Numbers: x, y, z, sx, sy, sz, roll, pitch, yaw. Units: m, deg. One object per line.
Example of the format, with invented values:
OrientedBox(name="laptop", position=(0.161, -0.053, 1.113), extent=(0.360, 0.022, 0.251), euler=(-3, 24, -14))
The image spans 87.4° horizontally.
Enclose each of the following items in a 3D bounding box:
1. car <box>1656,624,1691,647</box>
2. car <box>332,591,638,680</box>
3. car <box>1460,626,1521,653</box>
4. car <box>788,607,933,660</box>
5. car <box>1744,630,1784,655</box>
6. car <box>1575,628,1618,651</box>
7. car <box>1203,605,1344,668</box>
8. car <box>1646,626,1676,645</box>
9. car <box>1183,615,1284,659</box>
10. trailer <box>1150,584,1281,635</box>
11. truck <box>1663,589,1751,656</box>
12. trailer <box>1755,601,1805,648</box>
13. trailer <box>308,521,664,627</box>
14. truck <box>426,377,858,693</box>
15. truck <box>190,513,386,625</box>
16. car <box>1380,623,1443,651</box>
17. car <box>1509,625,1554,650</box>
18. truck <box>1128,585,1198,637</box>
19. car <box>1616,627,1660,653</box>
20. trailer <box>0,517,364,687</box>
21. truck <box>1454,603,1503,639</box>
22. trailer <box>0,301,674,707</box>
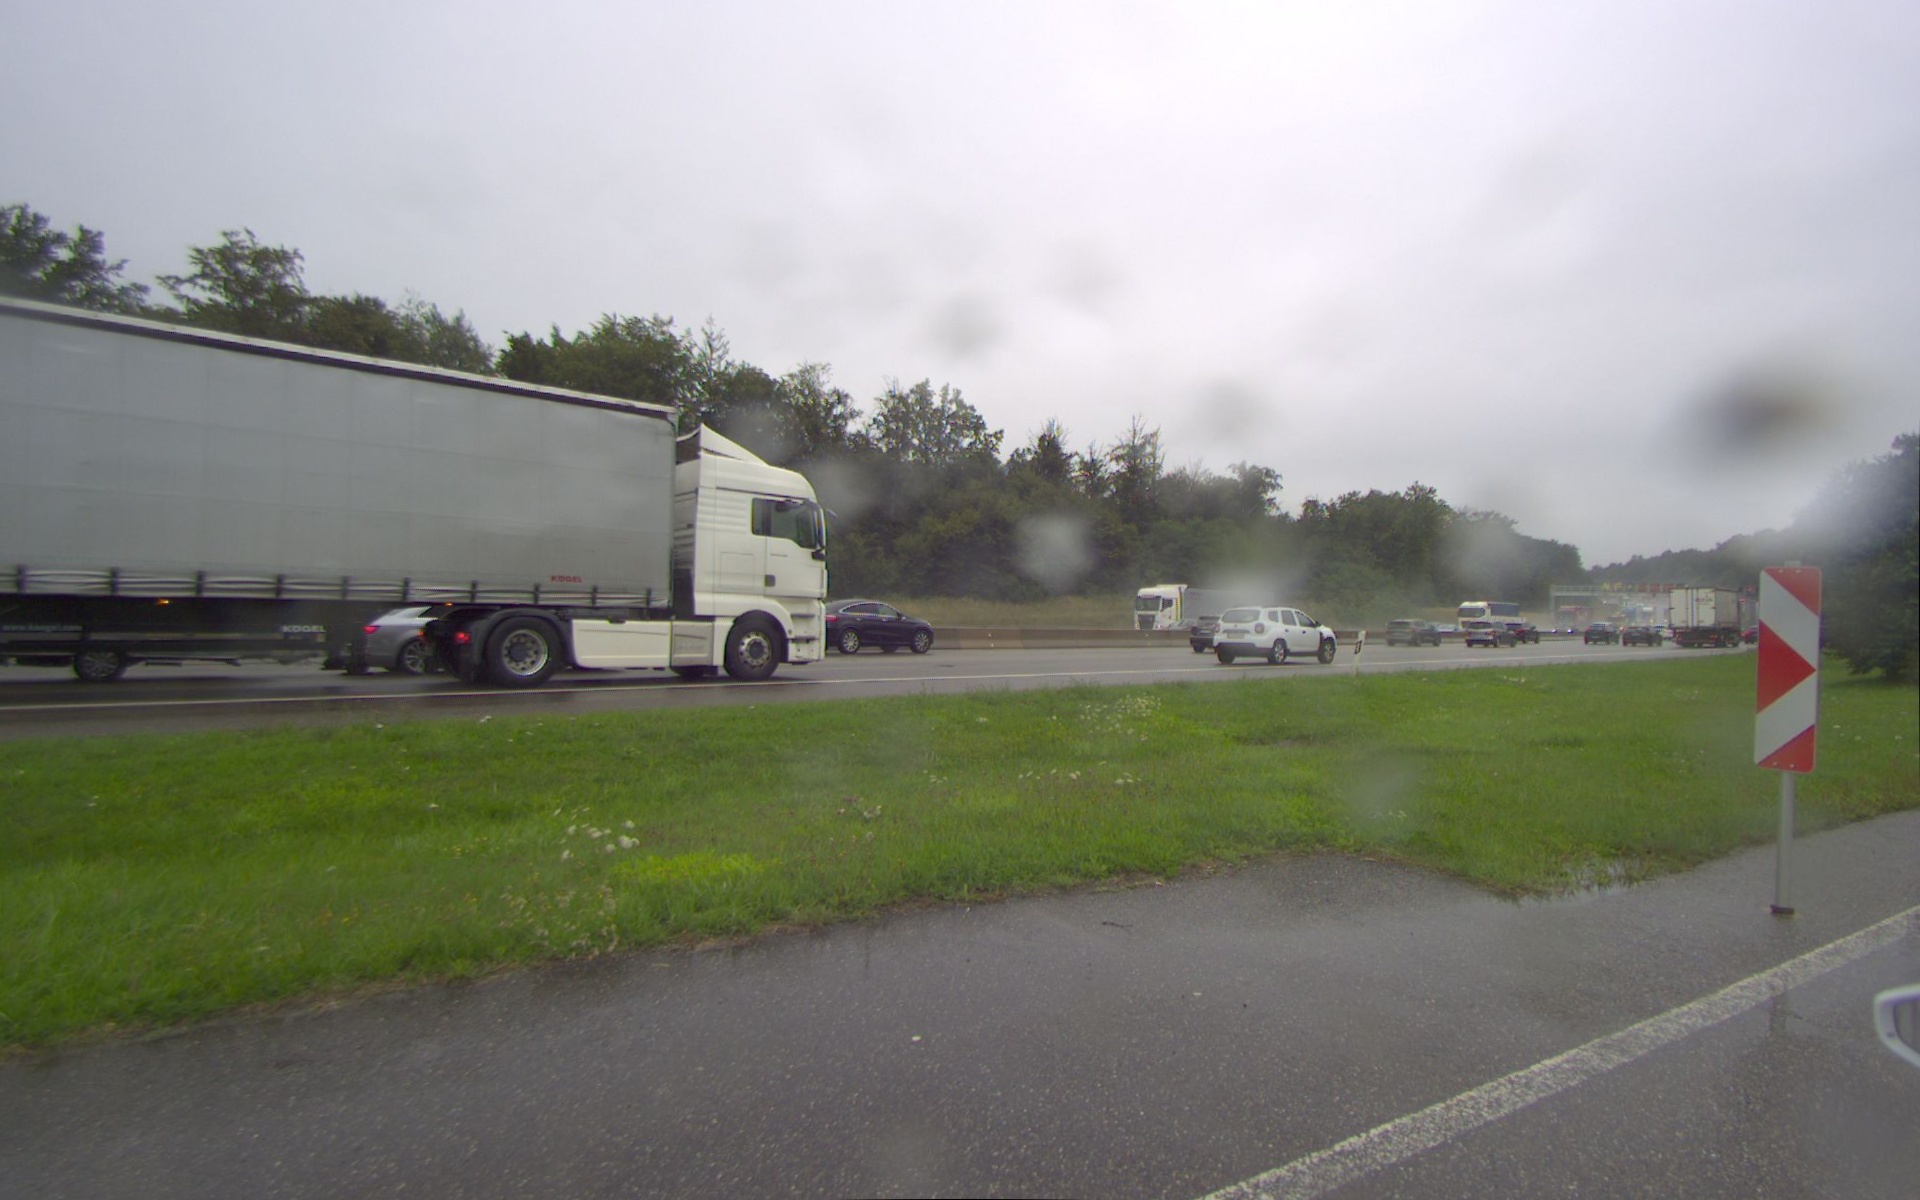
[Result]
OrientedBox(name="car", position=(69.844, 3.474, 98.267), extent=(3.972, 2.040, 1.974), euler=(2, 2, -43))
OrientedBox(name="car", position=(-8.219, 0.620, 17.650), extent=(4.547, 1.366, 1.829), euler=(2, -2, -42))
OrientedBox(name="car", position=(32.229, 2.401, 60.943), extent=(4.298, 1.547, 1.774), euler=(2, -1, -39))
OrientedBox(name="car", position=(-3.142, 1.087, 32.256), extent=(4.490, 1.596, 1.690), euler=(2, -3, -41))
OrientedBox(name="car", position=(66.703, 3.519, 83.325), extent=(3.972, 1.840, 1.974), euler=(2, 2, -43))
OrientedBox(name="car", position=(49.027, 3.034, 77.355), extent=(4.069, 1.759, 1.760), euler=(2, -2, -42))
OrientedBox(name="car", position=(8.759, 1.008, 27.912), extent=(4.289, 1.607, 1.770), euler=(2, -2, -41))
OrientedBox(name="car", position=(78.835, 4.012, 112.962), extent=(3.972, 2.040, 1.975), euler=(2, -2, -43))
OrientedBox(name="car", position=(11.037, 1.495, 40.414), extent=(4.428, 1.685, 1.907), euler=(2, -2, -43))
OrientedBox(name="trailer", position=(20.579, 0.675, 79.917), extent=(13.955, 3.587, 2.698), euler=(0, 5, -42))
OrientedBox(name="truck", position=(51.736, 1.647, 69.397), extent=(11.760, 4.349, 2.822), euler=(3, -1, -43))
OrientedBox(name="trailer", position=(86.868, 2.662, 106.325), extent=(3.509, 4.673, 12.054), euler=(0, -2, 42))
OrientedBox(name="trailer", position=(-19.396, -0.891, 42.407), extent=(13.314, 3.863, 2.999), euler=(1, 1, -43))
OrientedBox(name="truck", position=(-4.877, -0.730, 16.026), extent=(5.889, 4.106, 2.847), euler=(2, -2, -41))
OrientedBox(name="truck", position=(-24.829, -1.057, 37.241), extent=(5.605, 3.797, 3.012), euler=(1, 1, -43))
OrientedBox(name="car", position=(27.372, 2.262, 60.872), extent=(4.422, 1.594, 1.704), euler=(2, -2, -40))
OrientedBox(name="car", position=(43.285, 2.841, 76.030), extent=(4.070, 1.759, 1.759), euler=(2, -2, -42))
OrientedBox(name="truck", position=(15.195, 0.733, 74.976), extent=(4.726, 3.582, 2.689), euler=(-1, 5, -42))
OrientedBox(name="car", position=(47.765, 2.808, 70.740), extent=(3.818, 1.759, 1.759), euler=(2, -2, -42))
OrientedBox(name="trailer", position=(-11.876, 0.084, 14.670), extent=(5.140, 2.184, 2.110), euler=(2, -2, -42))
OrientedBox(name="truck", position=(57.141, 2.274, 110.658), extent=(5.947, 3.719, 2.598), euler=(0, 3, -42))
OrientedBox(name="trailer", position=(-10.384, -0.929, 11.118), extent=(14.010, 4.035, 2.870), euler=(2, -2, -41))
